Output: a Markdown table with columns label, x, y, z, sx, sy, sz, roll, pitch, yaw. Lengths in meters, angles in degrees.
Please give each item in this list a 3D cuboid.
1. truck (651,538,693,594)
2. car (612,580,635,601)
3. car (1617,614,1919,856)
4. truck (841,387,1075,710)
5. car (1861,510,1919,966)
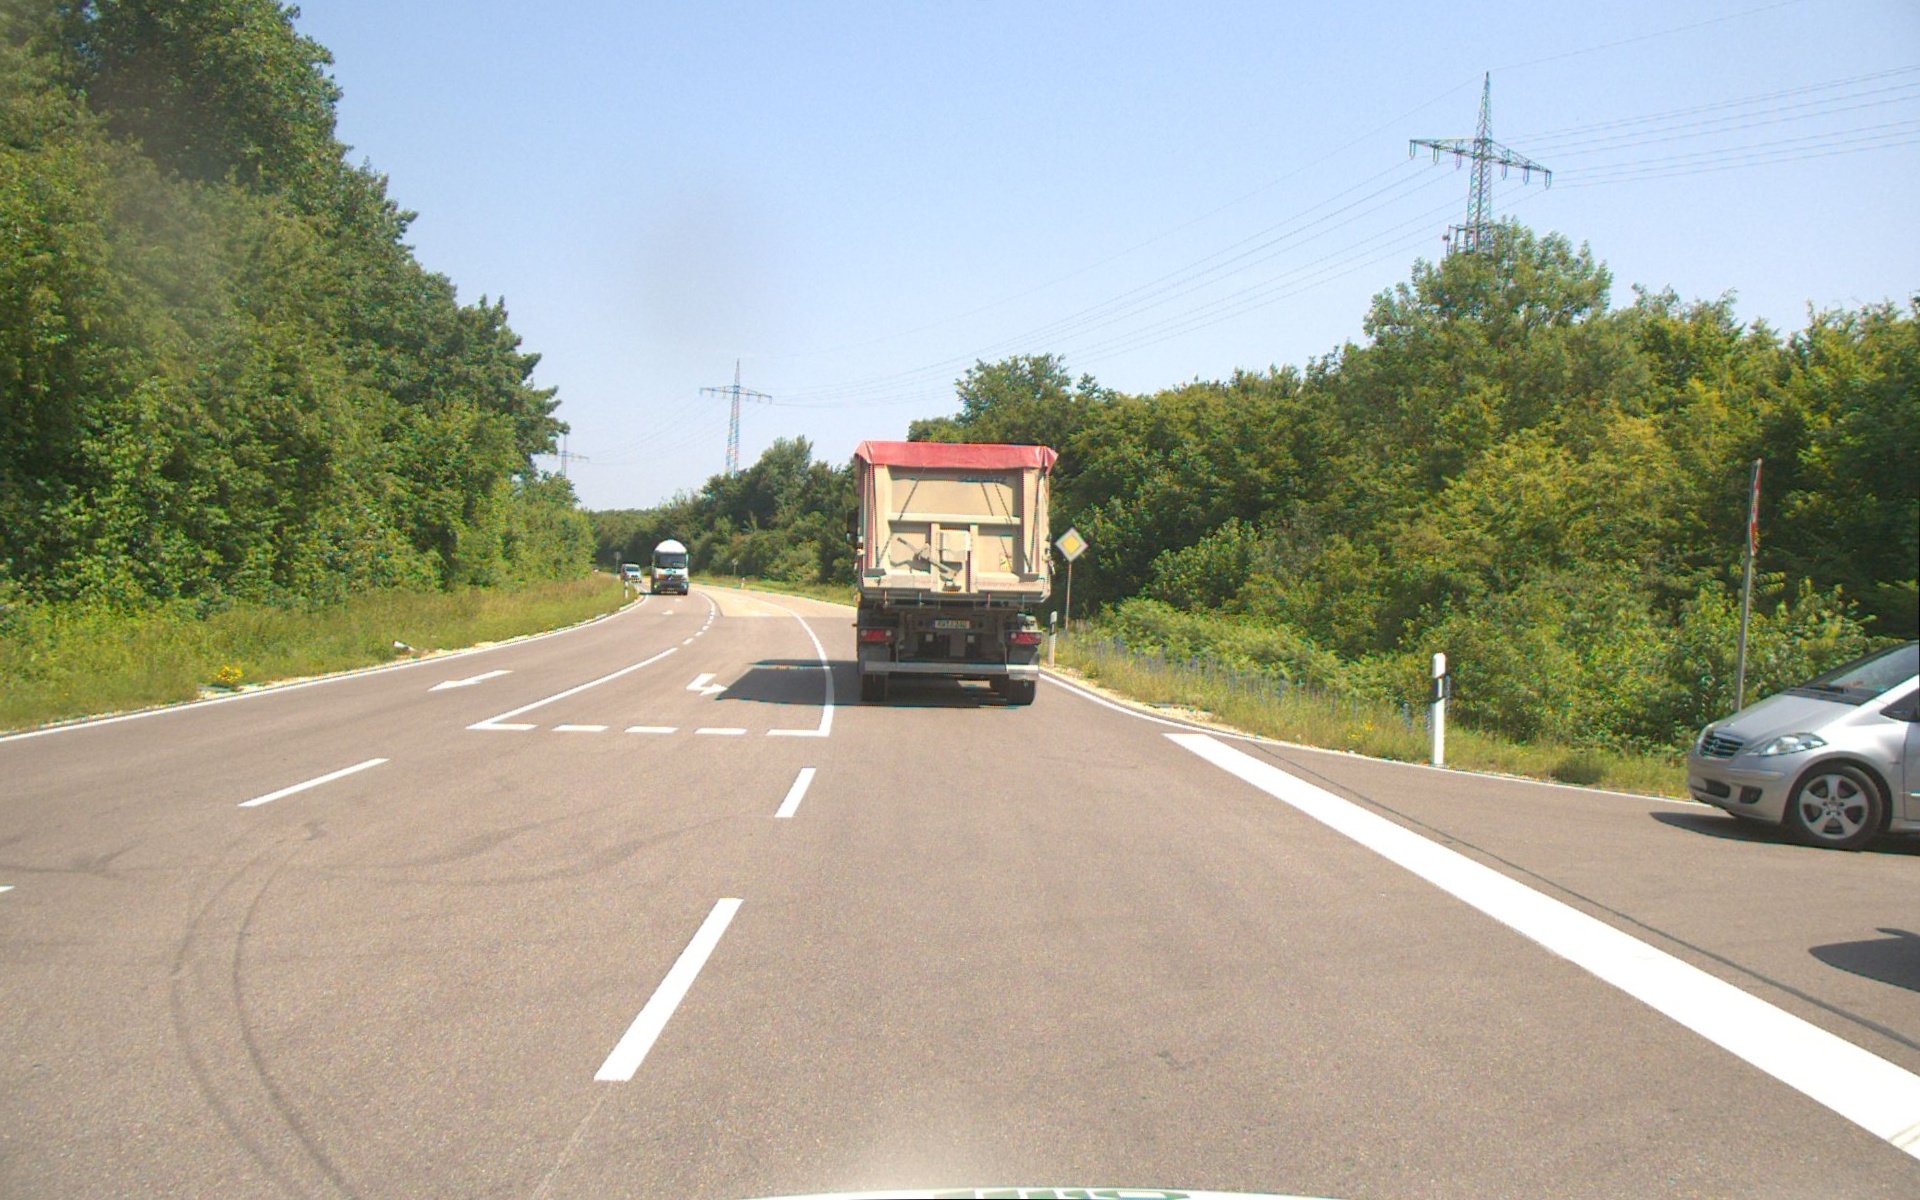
| label | x | y | z | sx | sy | sz | roll | pitch | yaw |
| --- | --- | --- | --- | --- | --- | --- | --- | --- | --- |
| truck | -19.926 | -2.310 | 114.843 | 2.578 | 3.735 | 8.780 | 1 | 0 | -8 |
| car | -29.072 | -0.806 | 143.113 | 1.809 | 1.810 | 4.882 | 1 | 0 | -10 |
| car | 7.313 | 1.018 | 12.509 | 3.905 | 1.607 | 1.843 | 3 | -1 | -7 |
| truck | -0.441 | -0.711 | 26.829 | 2.836 | 4.031 | 11.922 | 1 | 1 | -5 |
| car | 6.733 | 0.726 | 7.345 | 5.141 | 1.940 | 2.000 | 3 | -1 | -23 |
